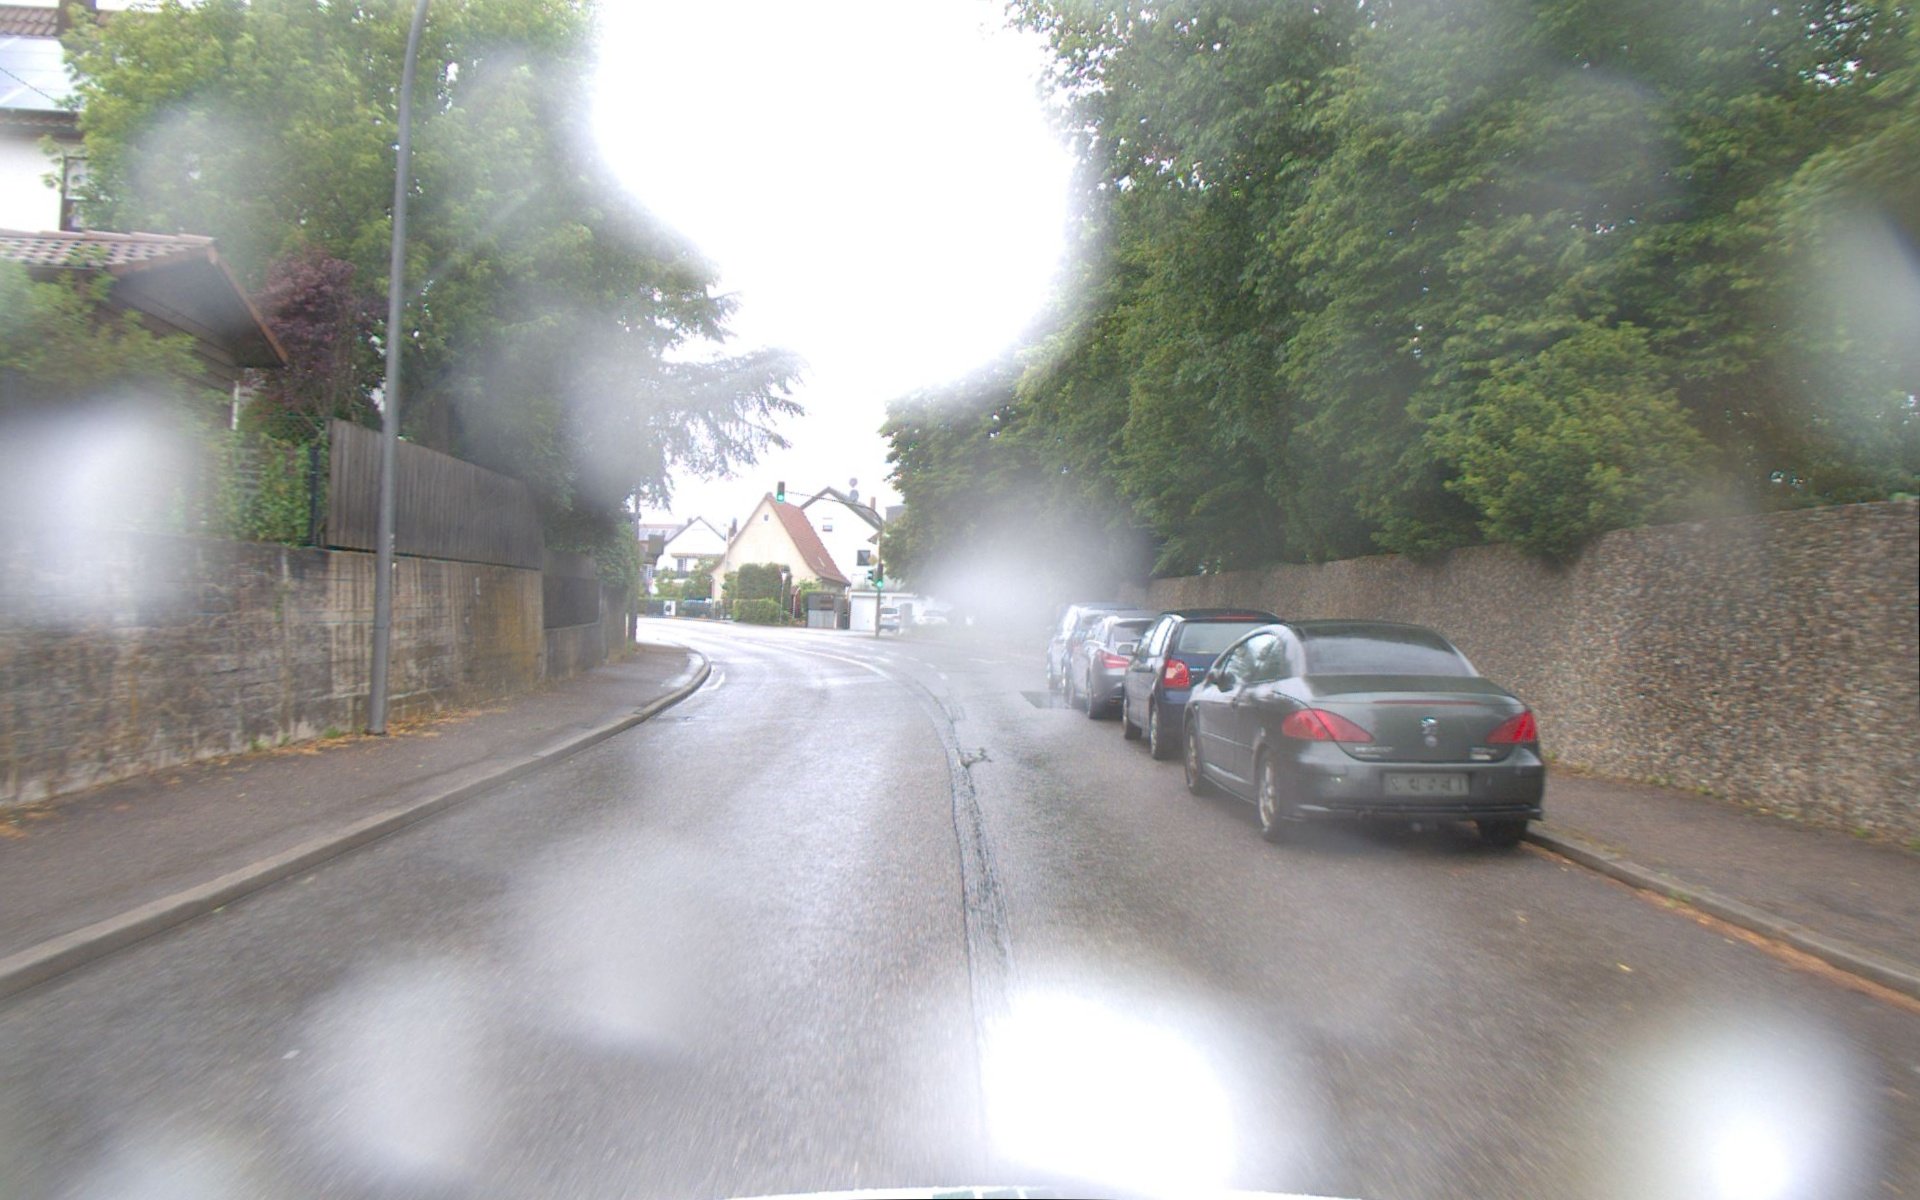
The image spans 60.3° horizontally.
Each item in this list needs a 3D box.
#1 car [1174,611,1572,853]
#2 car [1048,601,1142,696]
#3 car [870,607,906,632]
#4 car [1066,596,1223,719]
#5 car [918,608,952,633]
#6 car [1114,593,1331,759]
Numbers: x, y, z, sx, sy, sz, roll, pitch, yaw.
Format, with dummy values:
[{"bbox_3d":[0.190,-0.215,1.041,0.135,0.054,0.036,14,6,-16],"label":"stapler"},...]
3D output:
[{"bbox_3d":[2.740,0.804,11.957,1.619,1.395,4.179,1,0,-3],"label":"car"},{"bbox_3d":[2.315,0.837,28.927,1.276,1.523,3.363,2,-1,-1],"label":"car"},{"bbox_3d":[-4.441,1.202,102.453,1.867,1.467,4.001,1,0,2],"label":"car"},{"bbox_3d":[2.497,0.780,23.284,1.614,1.523,4.245,2,-1,-1],"label":"car"},{"bbox_3d":[-1.521,1.277,102.079,1.867,1.467,4.001,1,0,2],"label":"car"},{"bbox_3d":[2.675,0.764,17.588,1.614,1.523,3.708,2,-1,-1],"label":"car"}]
